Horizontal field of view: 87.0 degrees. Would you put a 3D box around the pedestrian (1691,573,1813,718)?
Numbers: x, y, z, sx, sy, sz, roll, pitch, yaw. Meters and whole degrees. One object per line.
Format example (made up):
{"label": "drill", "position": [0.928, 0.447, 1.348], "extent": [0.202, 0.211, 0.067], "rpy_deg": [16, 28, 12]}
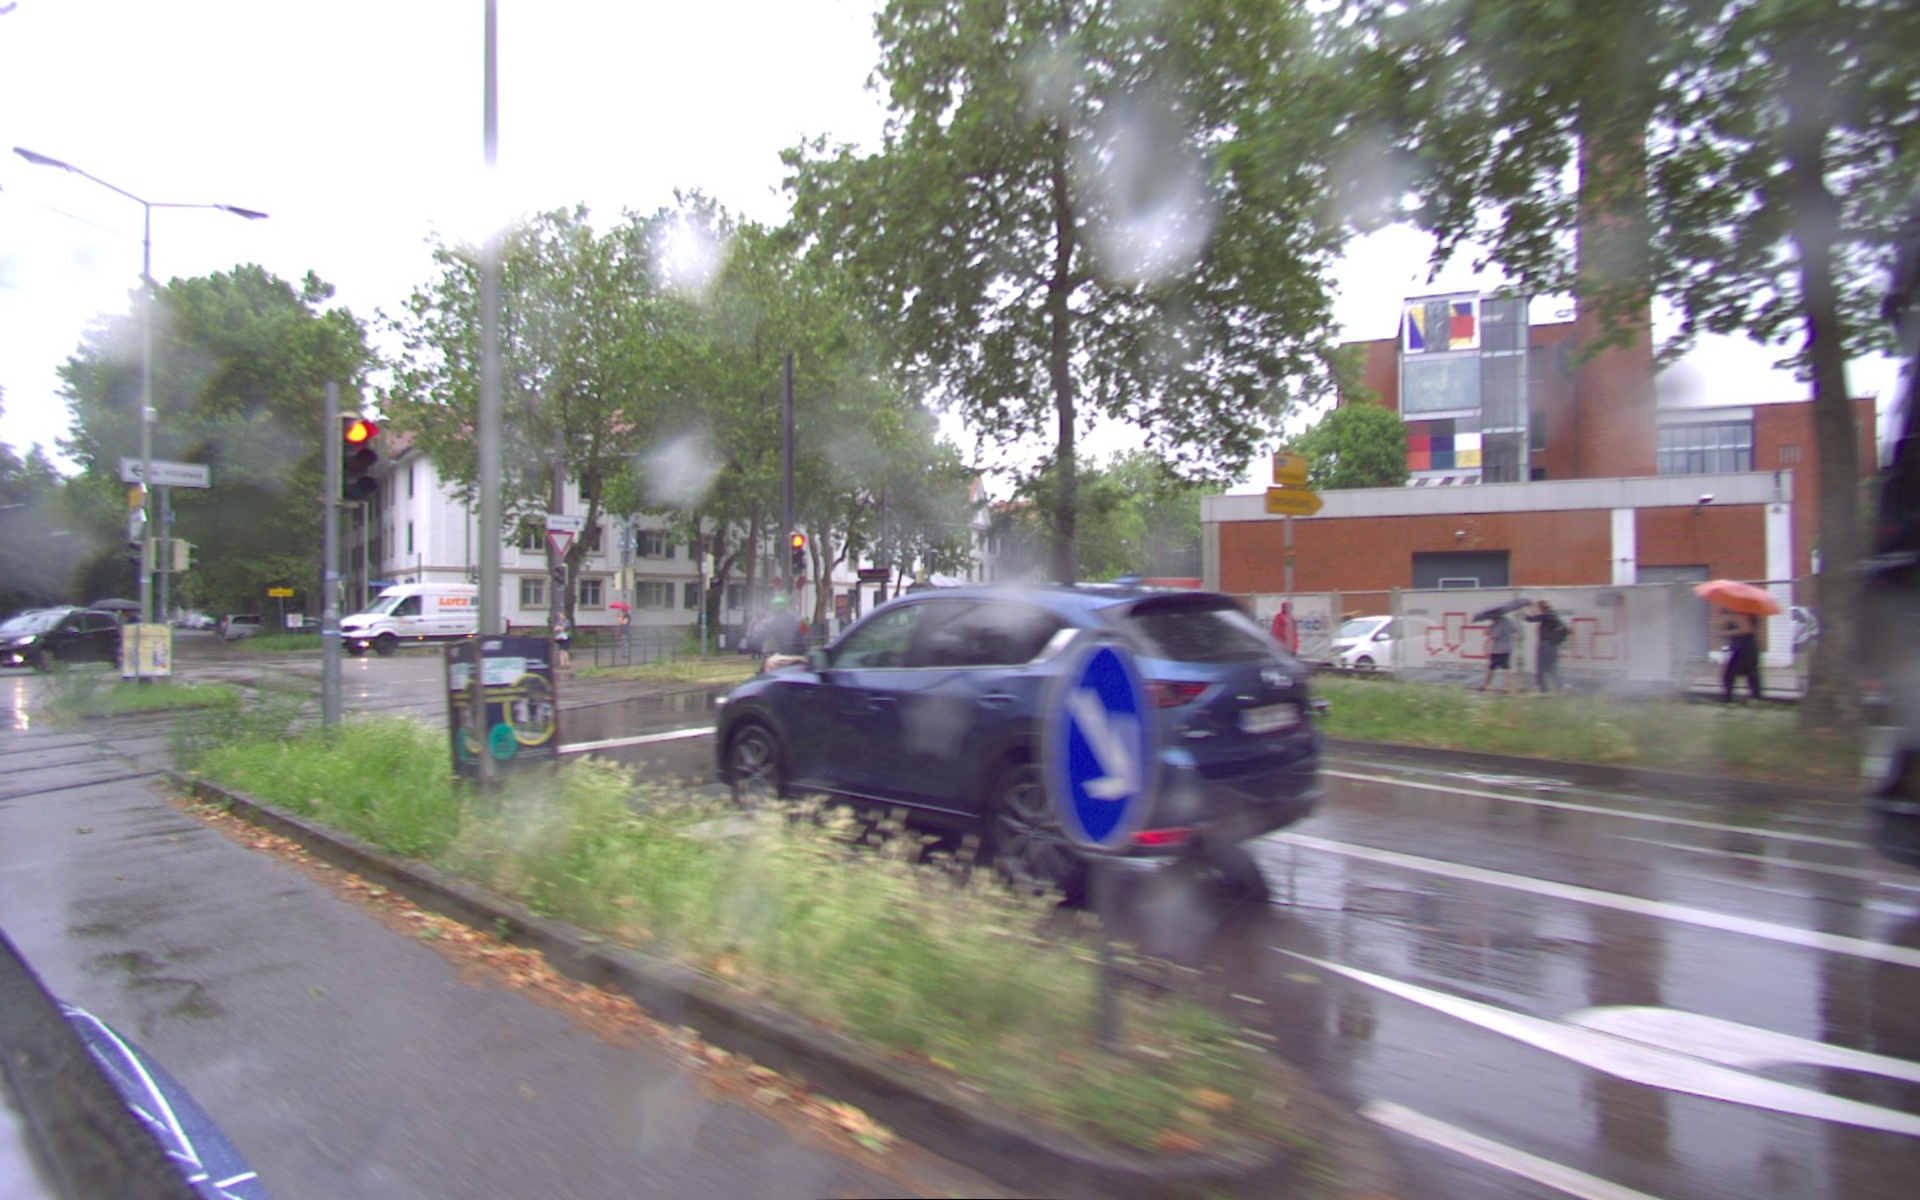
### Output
{"label": "pedestrian", "position": [9.474, 0.536, 12.144], "extent": [0.744, 1.662, 0.906], "rpy_deg": [0, -2, 7]}

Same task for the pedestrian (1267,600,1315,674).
{"label": "pedestrian", "position": [6.916, 0.771, 21.138], "extent": [0.844, 1.516, 0.822], "rpy_deg": [-1, -2, 25]}

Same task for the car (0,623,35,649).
{"label": "car", "position": [-57.218, 2.150, 60.881], "extent": [1.792, 1.471, 4.283], "rpy_deg": [0, -1, -35]}

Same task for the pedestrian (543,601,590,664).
{"label": "pedestrian", "position": [-10.880, 0.901, 27.974], "extent": [0.855, 1.701, 0.842], "rpy_deg": [-1, -2, 24]}

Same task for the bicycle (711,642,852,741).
{"label": "bicycle", "position": [-2.088, 1.016, 11.695], "extent": [1.873, 1.032, 0.526], "rpy_deg": [-1, -2, 40]}

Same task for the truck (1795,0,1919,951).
{"label": "truck", "position": [7.224, -0.674, 2.749], "extent": [3.405, 4.109, 6.988], "rpy_deg": [0, -1, -37]}

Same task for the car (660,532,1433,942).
{"label": "car", "position": [0.152, 0.636, 6.693], "extent": [2.049, 1.695, 4.934], "rpy_deg": [-2, -1, -43]}

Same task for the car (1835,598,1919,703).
{"label": "car", "position": [13.794, 0.629, 13.687], "extent": [3.602, 1.331, 1.849], "rpy_deg": [-1, -1, -30]}

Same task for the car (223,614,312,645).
{"label": "car", "position": [-44.168, 1.888, 64.551], "extent": [4.595, 1.888, 2.038], "rpy_deg": [1, -2, -37]}

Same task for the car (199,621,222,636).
{"label": "car", "position": [-93.949, 3.569, 126.871], "extent": [1.969, 1.820, 4.005], "rpy_deg": [0, -1, -41]}

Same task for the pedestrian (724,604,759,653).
{"label": "pedestrian", "position": [-7.729, 1.018, 35.812], "extent": [0.855, 1.701, 0.842], "rpy_deg": [-1, -2, 24]}

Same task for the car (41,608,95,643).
{"label": "car", "position": [-65.688, 1.891, 74.604], "extent": [2.363, 2.494, 5.705], "rpy_deg": [1, -2, -36]}

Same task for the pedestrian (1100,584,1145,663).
{"label": "pedestrian", "position": [3.947, 0.578, 24.600], "extent": [0.844, 1.876, 0.948], "rpy_deg": [-1, -2, 25]}

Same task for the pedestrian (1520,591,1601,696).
{"label": "pedestrian", "position": [9.387, 0.671, 15.847], "extent": [0.632, 1.593, 0.883], "rpy_deg": [0, -2, -16]}

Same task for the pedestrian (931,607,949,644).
{"label": "pedestrian", "position": [-1.012, 1.286, 51.045], "extent": [0.847, 1.839, 0.850], "rpy_deg": [0, -2, -5]}

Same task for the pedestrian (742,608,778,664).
{"label": "pedestrian", "position": [-6.668, 1.206, 33.770], "extent": [0.855, 1.846, 0.842], "rpy_deg": [-1, -3, 24]}

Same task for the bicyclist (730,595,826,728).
{"label": "bicyclist", "position": [-2.113, 0.690, 11.737], "extent": [1.010, 1.472, 0.573], "rpy_deg": [-1, -2, 40]}

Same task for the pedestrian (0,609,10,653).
{"label": "pedestrian", "position": [-46.030, 1.483, 48.211], "extent": [0.928, 2.078, 1.083], "rpy_deg": [1, -2, -33]}

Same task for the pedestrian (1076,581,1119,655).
{"label": "pedestrian", "position": [3.569, 0.485, 26.234], "extent": [0.844, 1.876, 0.948], "rpy_deg": [-1, -2, 25]}

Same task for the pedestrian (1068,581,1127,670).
{"label": "pedestrian", "position": [3.139, 0.580, 23.219], "extent": [0.896, 1.979, 1.218], "rpy_deg": [1, -2, -19]}

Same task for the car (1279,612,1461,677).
{"label": "car", "position": [9.378, 0.981, 23.190], "extent": [3.601, 1.331, 1.850], "rpy_deg": [-1, -1, -24]}

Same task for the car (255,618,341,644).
{"label": "car", "position": [-37.807, 1.763, 57.816], "extent": [3.938, 1.364, 1.800], "rpy_deg": [-1, -1, -41]}

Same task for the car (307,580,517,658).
{"label": "car", "position": [-19.677, 0.667, 36.723], "extent": [2.278, 2.582, 6.436], "rpy_deg": [-1, -1, 34]}

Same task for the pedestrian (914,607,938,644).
{"label": "pedestrian", "position": [-1.664, 1.252, 50.144], "extent": [0.847, 1.800, 0.850], "rpy_deg": [2, -3, -41]}

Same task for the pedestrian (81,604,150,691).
{"label": "pedestrian", "position": [-15.961, 0.887, 19.136], "extent": [0.641, 1.593, 0.853], "rpy_deg": [-1, -2, 36]}

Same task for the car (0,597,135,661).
{"label": "car", "position": [-22.420, 0.715, 24.852], "extent": [1.823, 1.455, 4.011], "rpy_deg": [1, -2, -15]}

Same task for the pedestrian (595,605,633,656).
{"label": "pedestrian", "position": [-11.601, 1.029, 33.993], "extent": [0.844, 1.701, 0.853], "rpy_deg": [-1, -2, 25]}

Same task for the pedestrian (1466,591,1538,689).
{"label": "pedestrian", "position": [8.617, 0.629, 16.121], "extent": [0.632, 1.527, 0.774], "rpy_deg": [0, -2, -16]}
